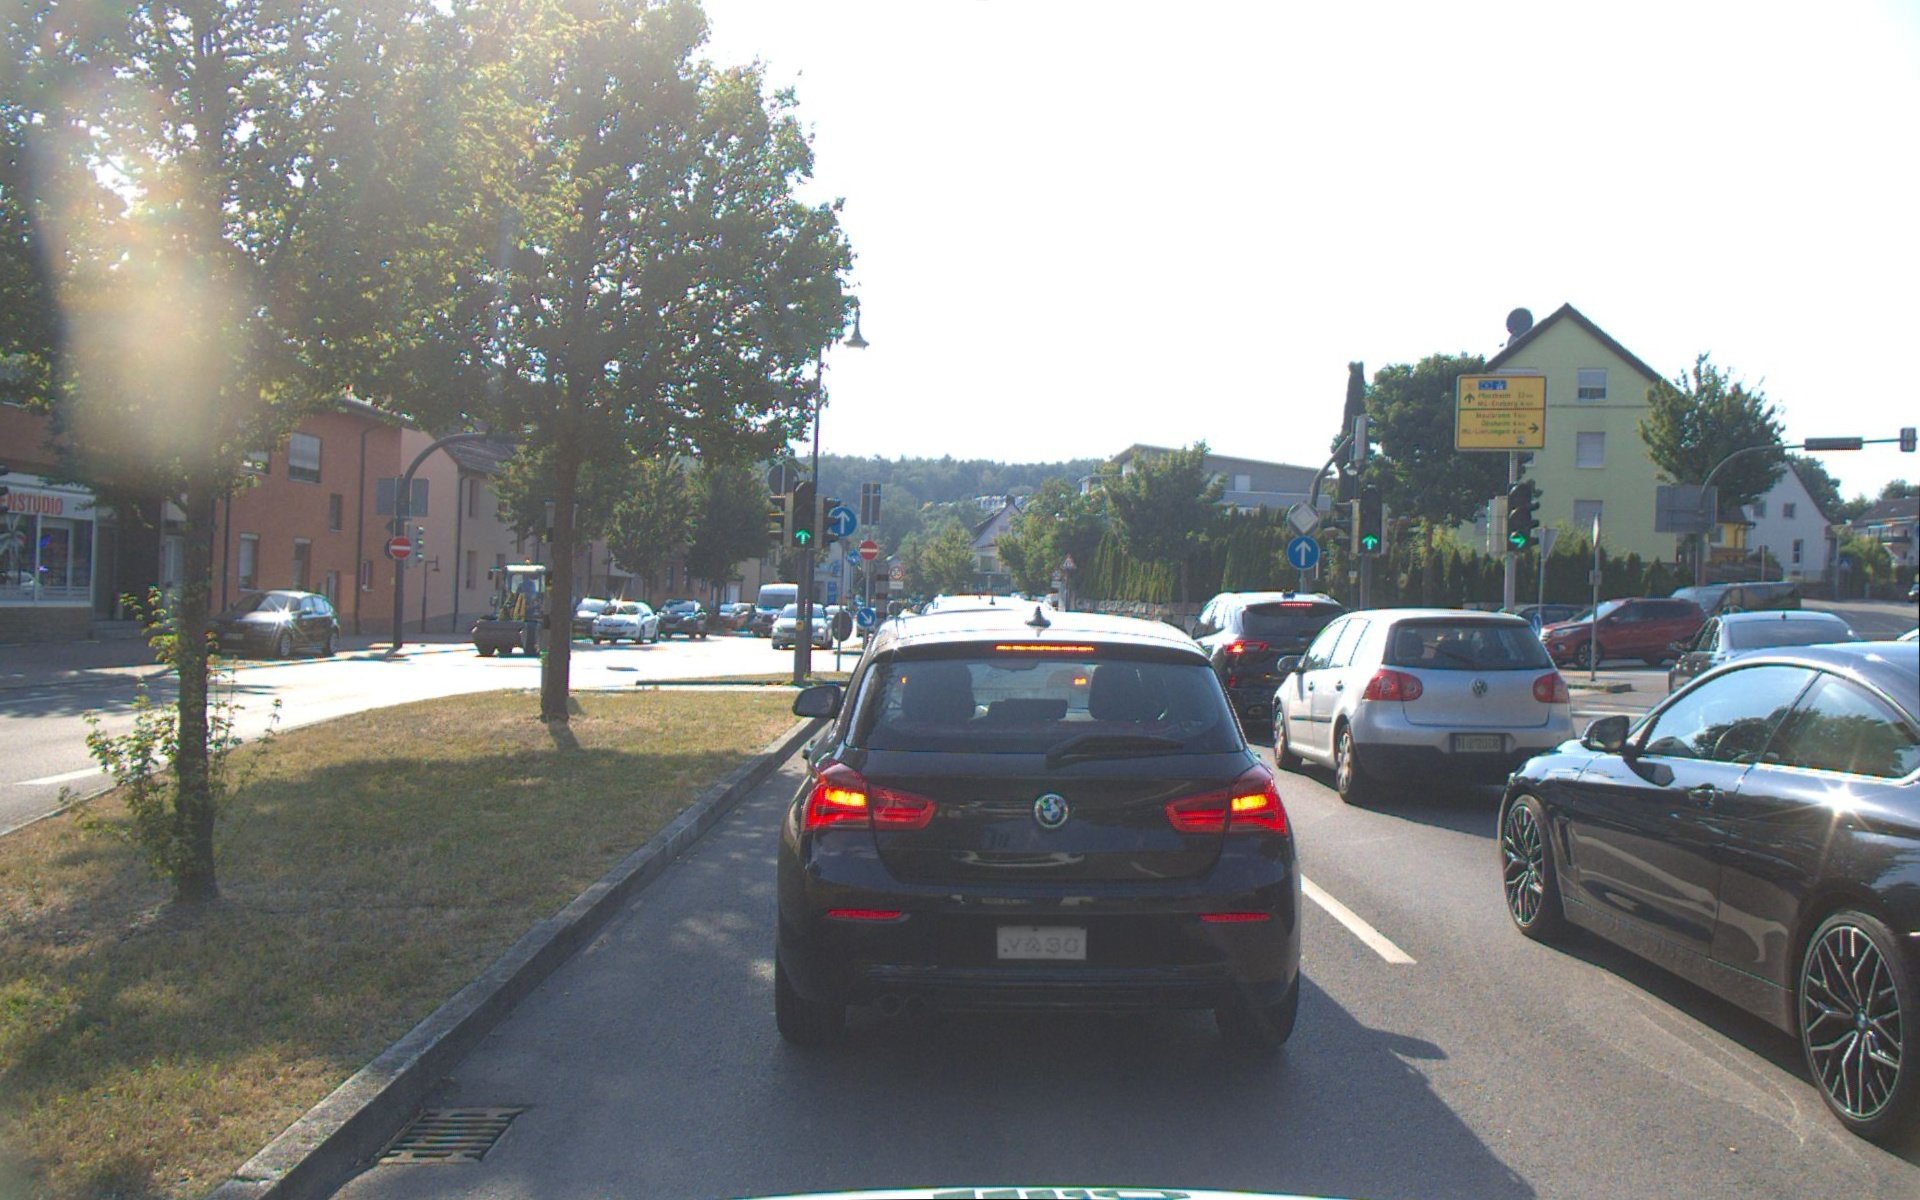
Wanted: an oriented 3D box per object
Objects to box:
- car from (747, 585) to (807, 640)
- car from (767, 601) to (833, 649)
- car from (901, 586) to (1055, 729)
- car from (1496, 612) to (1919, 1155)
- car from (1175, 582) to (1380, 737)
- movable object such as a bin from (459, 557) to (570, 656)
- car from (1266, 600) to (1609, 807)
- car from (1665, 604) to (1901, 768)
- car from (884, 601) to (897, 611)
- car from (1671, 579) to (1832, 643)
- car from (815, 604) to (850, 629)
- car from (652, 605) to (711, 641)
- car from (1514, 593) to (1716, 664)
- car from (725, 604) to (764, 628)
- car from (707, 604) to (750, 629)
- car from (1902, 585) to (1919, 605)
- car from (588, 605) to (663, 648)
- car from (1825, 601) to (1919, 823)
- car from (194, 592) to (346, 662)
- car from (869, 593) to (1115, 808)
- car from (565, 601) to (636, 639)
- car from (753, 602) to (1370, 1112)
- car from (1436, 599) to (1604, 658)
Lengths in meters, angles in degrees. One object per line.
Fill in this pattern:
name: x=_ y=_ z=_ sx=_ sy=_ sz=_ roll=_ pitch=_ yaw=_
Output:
car: x=-8.558 y=0.591 z=77.982 sx=2.041 sy=2.435 sz=5.529 roll=1 pitch=0 yaw=1
car: x=-5.317 y=0.803 z=55.438 sx=1.801 sy=1.508 sz=4.000 roll=1 pitch=0 yaw=0
car: x=0.199 y=0.647 z=21.055 sx=1.751 sy=1.622 sz=4.280 roll=-1 pitch=0 yaw=0
car: x=3.462 y=0.784 z=5.850 sx=1.725 sy=1.422 sz=4.280 roll=-1 pitch=0 yaw=0
car: x=3.737 y=0.647 z=20.088 sx=1.725 sy=1.685 sz=3.902 roll=-1 pitch=0 yaw=0
movable object such as a bin: x=-11.723 y=0.165 z=43.784 sx=1.701 sy=2.485 sz=4.449 roll=0 pitch=0 yaw=0
car: x=3.784 y=0.739 z=13.806 sx=1.725 sy=1.451 sz=3.902 roll=-1 pitch=0 yaw=0
car: x=9.044 y=0.851 z=18.513 sx=1.621 sy=1.569 sz=4.401 roll=-1 pitch=0 yaw=17
car: x=-10.963 y=0.943 z=262.315 sx=1.701 sy=1.323 sz=3.800 roll=5 pitch=0 yaw=2
car: x=22.806 y=0.323 z=47.620 sx=4.716 sy=1.770 sz=1.830 roll=1 pitch=0 yaw=-29
car: x=-7.911 y=1.013 z=103.193 sx=1.801 sy=1.508 sz=4.001 roll=1 pitch=0 yaw=1
car: x=-12.024 y=0.970 z=71.636 sx=1.701 sy=1.323 sz=3.800 roll=5 pitch=0 yaw=2
car: x=16.316 y=0.688 z=41.286 sx=4.333 sy=1.670 sz=1.845 roll=1 pitch=0 yaw=-8
car: x=-13.325 y=0.972 z=102.418 sx=1.701 sy=1.323 sz=3.800 roll=5 pitch=0 yaw=2
car: x=-13.550 y=0.949 z=96.962 sx=1.701 sy=1.323 sz=3.800 roll=5 pitch=0 yaw=2
car: x=83.087 y=-0.451 z=143.284 sx=1.934 sy=1.709 sz=4.195 roll=0 pitch=0 yaw=38
car: x=-12.064 y=0.944 z=59.810 sx=1.701 sy=1.323 sz=3.800 roll=5 pitch=0 yaw=2
car: x=7.613 y=0.797 z=11.658 sx=1.583 sy=1.569 sz=3.320 roll=-1 pitch=0 yaw=6
car: x=-15.481 y=0.575 z=37.323 sx=1.702 sy=1.323 sz=3.999 roll=5 pitch=0 yaw=-1
car: x=0.228 y=0.715 z=14.014 sx=1.751 sy=1.520 sz=4.280 roll=-1 pitch=0 yaw=0
car: x=-14.508 y=0.805 z=66.937 sx=1.701 sy=1.323 sz=4.001 roll=5 pitch=0 yaw=3
car: x=0.287 y=0.735 z=6.869 sx=1.751 sy=1.422 sz=4.280 roll=-1 pitch=0 yaw=0
car: x=15.159 y=0.761 z=44.865 sx=3.907 sy=1.515 sz=1.847 roll=1 pitch=0 yaw=-3
